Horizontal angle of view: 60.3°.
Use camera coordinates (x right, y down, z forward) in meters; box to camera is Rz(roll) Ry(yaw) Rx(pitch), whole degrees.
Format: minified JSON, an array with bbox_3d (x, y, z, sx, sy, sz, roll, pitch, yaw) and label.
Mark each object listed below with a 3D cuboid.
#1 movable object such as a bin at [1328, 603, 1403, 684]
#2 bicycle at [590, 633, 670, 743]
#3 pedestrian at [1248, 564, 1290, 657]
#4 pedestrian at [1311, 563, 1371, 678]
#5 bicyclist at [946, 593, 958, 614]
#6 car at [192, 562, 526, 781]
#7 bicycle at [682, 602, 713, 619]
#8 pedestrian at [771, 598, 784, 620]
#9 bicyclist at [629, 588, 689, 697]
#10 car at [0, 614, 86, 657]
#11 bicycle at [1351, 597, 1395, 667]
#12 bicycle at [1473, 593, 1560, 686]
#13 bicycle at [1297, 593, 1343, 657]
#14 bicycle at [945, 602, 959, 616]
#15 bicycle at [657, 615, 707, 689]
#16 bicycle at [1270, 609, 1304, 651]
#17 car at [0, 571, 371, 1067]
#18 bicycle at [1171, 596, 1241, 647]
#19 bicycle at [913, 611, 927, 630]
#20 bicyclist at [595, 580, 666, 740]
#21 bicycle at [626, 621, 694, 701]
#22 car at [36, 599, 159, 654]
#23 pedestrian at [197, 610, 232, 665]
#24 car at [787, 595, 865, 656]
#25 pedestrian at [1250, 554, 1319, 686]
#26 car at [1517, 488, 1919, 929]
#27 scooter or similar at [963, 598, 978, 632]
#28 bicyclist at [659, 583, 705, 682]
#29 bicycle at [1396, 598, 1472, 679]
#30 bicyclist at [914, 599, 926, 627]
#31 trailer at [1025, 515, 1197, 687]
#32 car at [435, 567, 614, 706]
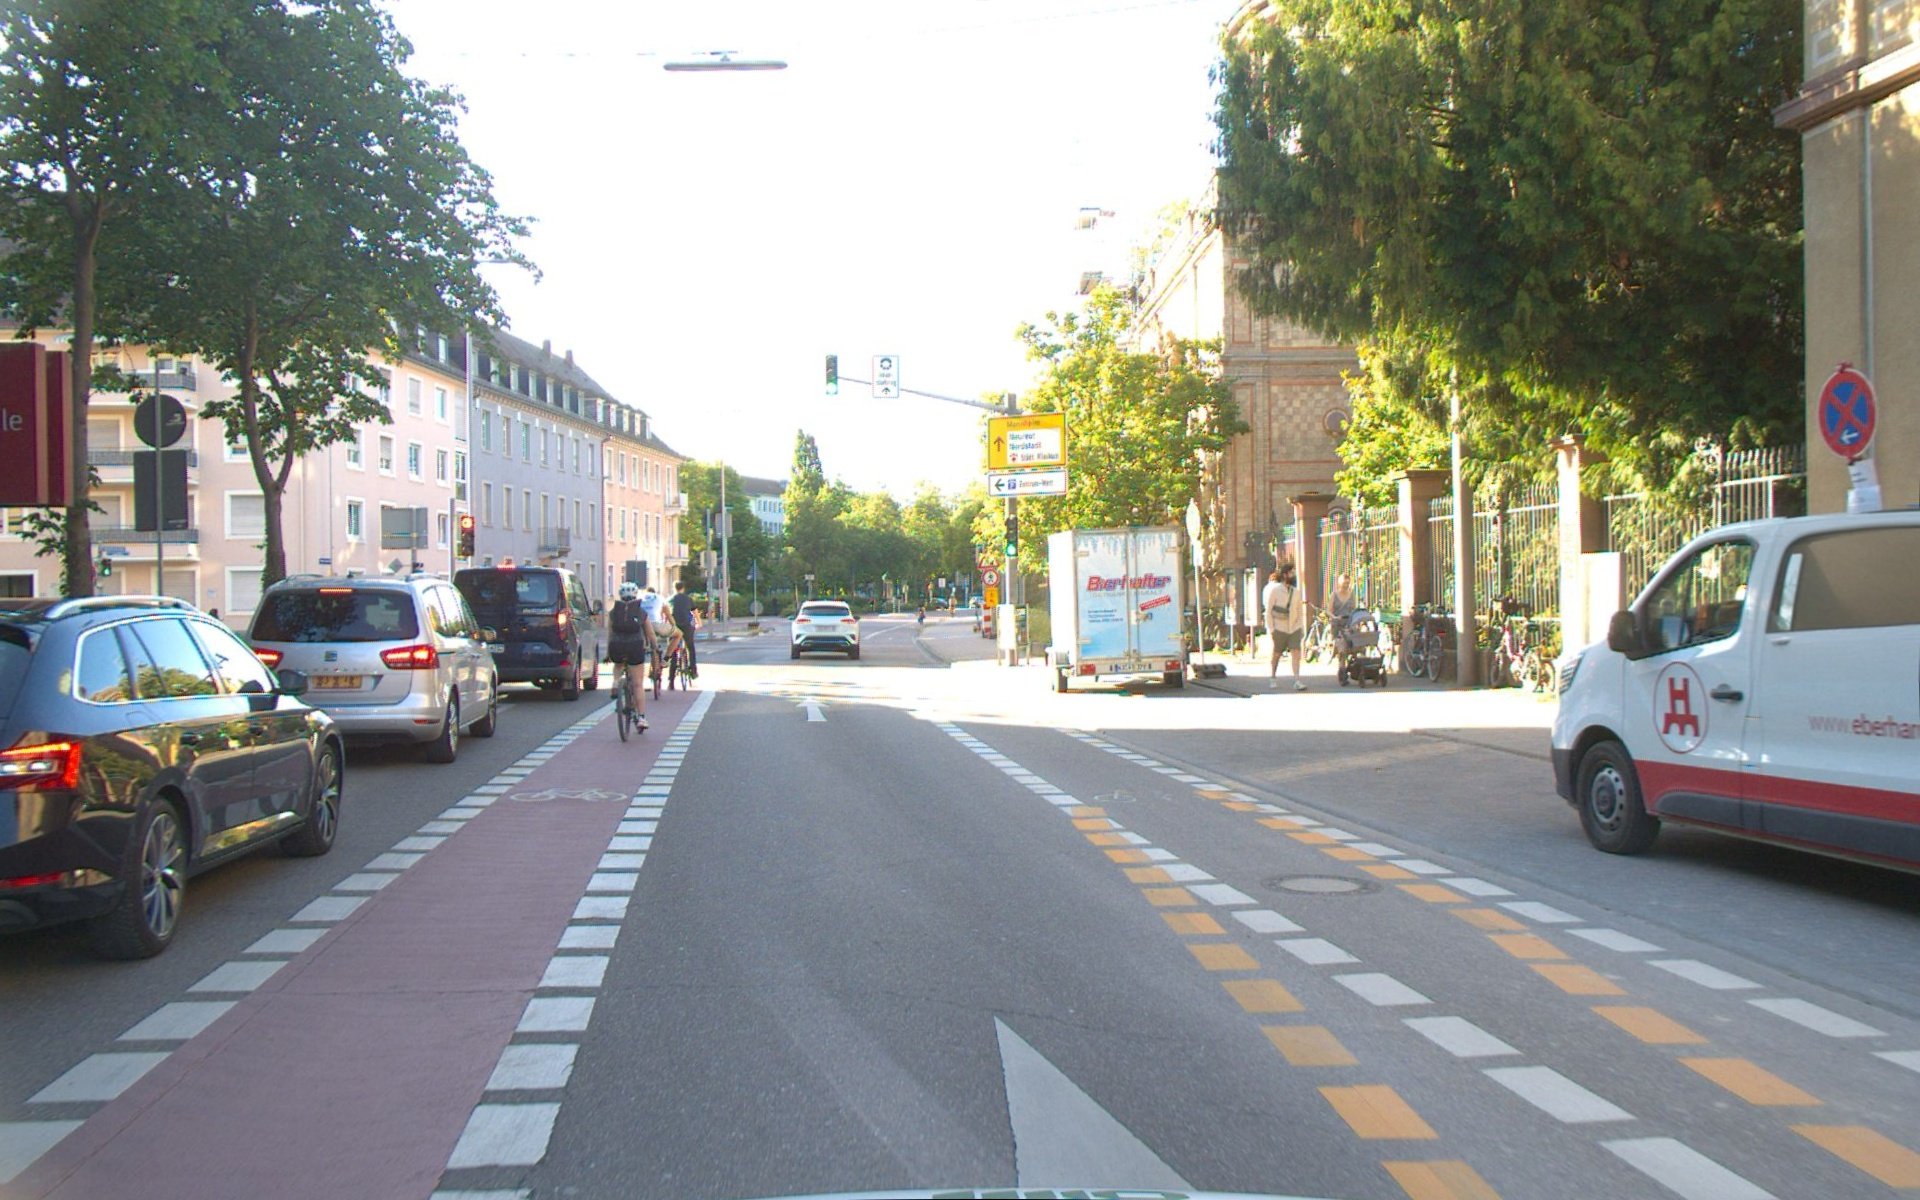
[{"bbox_3d":[6.045,0.633,24.694,0.698,1.137,1.049,-3,1,-8],"label":"movable object such as a bin"},{"bbox_3d":[-3.563,0.926,17.949,0.656,1.091,1.751,0,0,-5],"label":"bicycle"},{"bbox_3d":[6.096,0.196,32.660,0.626,1.799,0.737,-1,0,-3],"label":"pedestrian"},{"bbox_3d":[5.896,0.312,25.609,0.669,1.731,0.692,-2,1,-7],"label":"pedestrian"},{"bbox_3d":[-0.626,0.243,123.923,0.731,1.564,0.970,-1,0,10],"label":"bicyclist"},{"bbox_3d":[-5.658,0.580,16.264,1.953,1.780,4.741,-1,0,-6],"label":"car"},{"bbox_3d":[-20.662,0.809,130.130,2.270,1.251,0.561,-1,0,9],"label":"bicycle"},{"bbox_3d":[-15.986,0.817,144.639,0.837,1.884,1.002,-2,0,8],"label":"pedestrian"},{"bbox_3d":[-4.654,0.641,25.628,0.787,1.636,0.824,-1,0,-4],"label":"bicyclist"},{"bbox_3d":[-31.473,1.178,56.196,1.574,1.333,3.998,-1,0,-3],"label":"car"},{"bbox_3d":[6.938,0.523,27.815,0.268,1.125,1.531,-3,0,-1],"label":"bicycle"},{"bbox_3d":[7.513,0.510,22.390,0.410,1.176,1.825,-3,0,-3],"label":"bicycle"},{"bbox_3d":[6.636,0.440,30.521,0.391,1.125,1.680,-3,0,-1],"label":"bicycle"},{"bbox_3d":[-0.621,0.643,123.906,0.737,1.044,1.871,0,-1,10],"label":"bicycle"},{"bbox_3d":[-4.720,0.860,28.199,0.629,1.175,2.075,0,0,-4],"label":"bicycle"},{"bbox_3d":[6.555,0.587,33.202,0.259,0.807,1.450,-1,0,-5],"label":"bicycle"},{"bbox_3d":[-4.327,0.765,7.864,1.956,1.686,4.727,-1,0,-9],"label":"car"},{"bbox_3d":[5.463,0.477,36.718,1.438,1.057,0.478,-2,0,-6],"label":"bicycle"},{"bbox_3d":[-2.349,1.187,96.955,0.629,1.042,2.213,0,0,3],"label":"bicycle"},{"bbox_3d":[-3.562,0.630,17.925,0.659,1.681,0.886,0,0,-6],"label":"bicyclist"},{"bbox_3d":[-4.647,0.924,25.705,0.812,1.163,1.968,0,0,-4],"label":"bicycle"},{"bbox_3d":[-29.242,0.860,56.248,1.954,1.716,4.612,-1,0,-3],"label":"car"},{"bbox_3d":[-22.438,1.131,49.776,0.618,1.611,0.818,2,0,2],"label":"pedestrian"},{"bbox_3d":[-3.636,0.652,44.260,1.955,1.478,3.995,-2,0,-6],"label":"car"},{"bbox_3d":[4.890,0.287,24.947,0.702,1.927,0.888,-2,1,-9],"label":"pedestrian"},{"bbox_3d":[5.141,0.492,8.395,1.978,1.979,5.467,0,0,-11],"label":"car"},{"bbox_3d":[0.415,0.586,67.193,0.544,1.331,1.832,-1,0,1],"label":"scooter or similar"},{"bbox_3d":[-4.722,0.541,28.135,0.657,1.636,0.824,-1,0,-4],"label":"bicyclist"},{"bbox_3d":[7.034,0.548,24.611,0.387,1.150,1.925,-1,0,-6],"label":"bicycle"},{"bbox_3d":[-2.351,0.740,97.081,0.623,1.642,1.284,0,0,3],"label":"bicyclist"},{"bbox_3d":[2.433,-0.005,27.933,2.039,2.572,4.487,-3,1,-5],"label":"trailer"},{"bbox_3d":[-6.809,0.543,26.402,2.029,1.949,5.026,-1,0,-7],"label":"car"}]
